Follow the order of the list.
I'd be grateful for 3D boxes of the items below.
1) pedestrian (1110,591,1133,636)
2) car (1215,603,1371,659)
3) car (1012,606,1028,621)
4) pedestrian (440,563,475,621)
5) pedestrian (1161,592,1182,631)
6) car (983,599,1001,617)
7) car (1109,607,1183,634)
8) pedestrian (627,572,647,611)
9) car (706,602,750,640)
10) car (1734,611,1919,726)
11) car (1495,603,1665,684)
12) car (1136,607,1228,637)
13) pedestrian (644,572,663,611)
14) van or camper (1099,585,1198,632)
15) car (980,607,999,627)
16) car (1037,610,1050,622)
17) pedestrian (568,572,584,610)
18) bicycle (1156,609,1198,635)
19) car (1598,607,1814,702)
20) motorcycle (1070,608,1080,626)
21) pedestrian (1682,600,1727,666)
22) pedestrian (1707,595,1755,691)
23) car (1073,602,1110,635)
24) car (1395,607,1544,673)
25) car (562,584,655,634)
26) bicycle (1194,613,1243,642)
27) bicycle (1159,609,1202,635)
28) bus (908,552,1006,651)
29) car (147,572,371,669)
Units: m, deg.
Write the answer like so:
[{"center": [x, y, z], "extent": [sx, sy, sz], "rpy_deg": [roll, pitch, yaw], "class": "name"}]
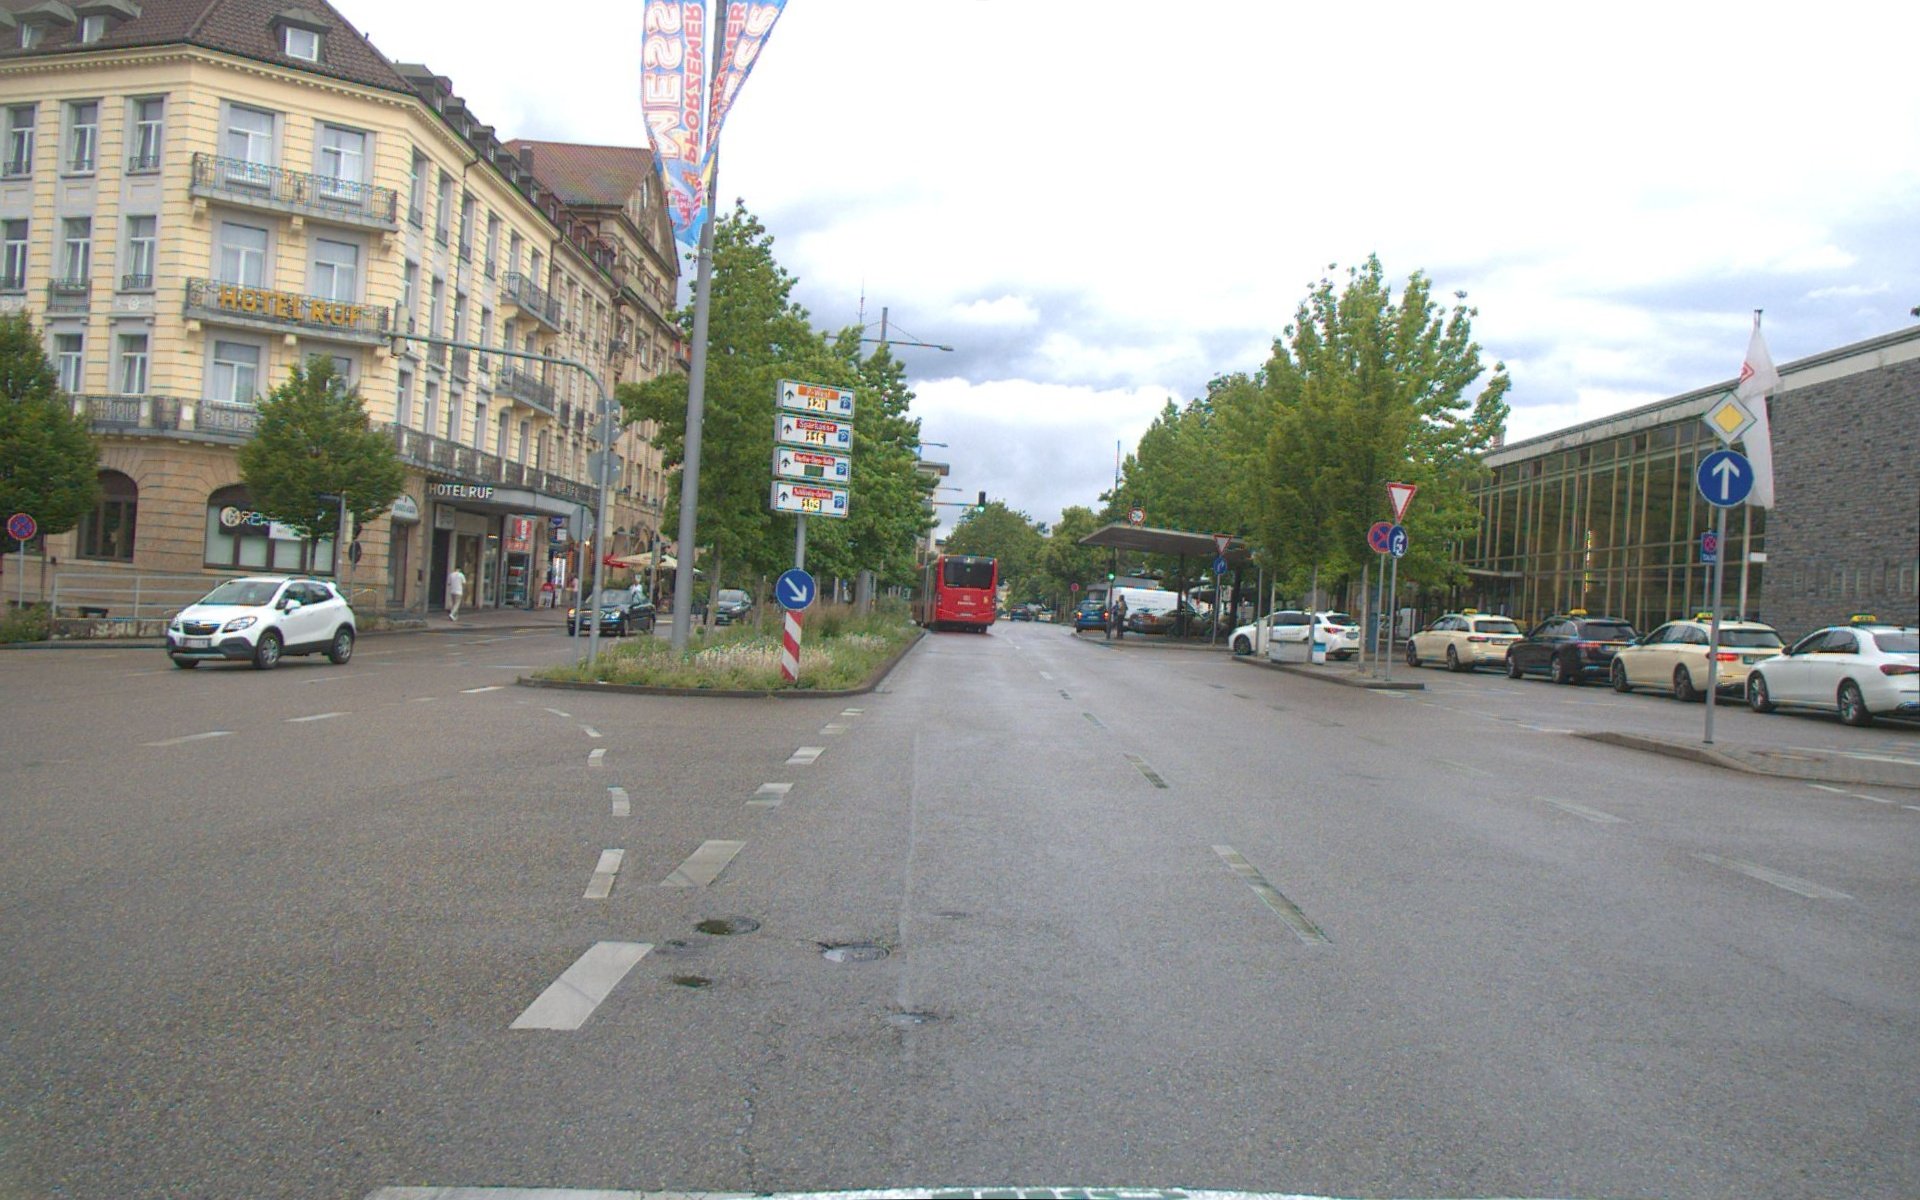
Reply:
[{"center": [6.515, 0.543, 66.709], "extent": [0.732, 1.777, 0.834], "rpy_deg": [2, -1, -8], "class": "pedestrian"}, {"center": [10.225, 0.931, 51.037], "extent": [1.746, 1.573, 4.710], "rpy_deg": [2, -1, -39], "class": "car"}, {"center": [6.346, 1.426, 175.032], "extent": [1.562, 1.588, 3.650], "rpy_deg": [1, 0, 1], "class": "car"}, {"center": [-16.415, -0.253, 54.018], "extent": [0.861, 1.844, 0.750], "rpy_deg": [1, -1, 0], "class": "pedestrian"}, {"center": [10.344, 0.575, 80.993], "extent": [0.839, 1.867, 1.190], "rpy_deg": [2, -1, 0], "class": "pedestrian"}, {"center": [3.642, 0.913, 188.375], "extent": [1.952, 2.049, 4.000], "rpy_deg": [1, 0, 1], "class": "car"}, {"center": [10.849, 1.196, 96.475], "extent": [3.938, 1.468, 1.849], "rpy_deg": [3, -1, -26], "class": "car"}, {"center": [-14.163, -0.368, 72.557], "extent": [0.667, 1.693, 0.807], "rpy_deg": [1, -1, 3], "class": "pedestrian"}, {"center": [-9.759, 0.855, 69.712], "extent": [1.644, 1.539, 3.859], "rpy_deg": [1, 0, -5], "class": "car"}, {"center": [14.107, 0.994, 25.774], "extent": [1.841, 1.627, 4.903], "rpy_deg": [1, 0, 1], "class": "car"}, {"center": [14.081, 0.937, 37.892], "extent": [1.953, 1.627, 4.957], "rpy_deg": [3, 0, -1], "class": "car"}, {"center": [11.014, 1.098, 82.062], "extent": [4.122, 1.348, 1.830], "rpy_deg": [2, -1, -20], "class": "car"}, {"center": [-13.432, -0.368, 72.487], "extent": [0.667, 1.693, 0.807], "rpy_deg": [1, -1, 1], "class": "pedestrian"}, {"center": [11.687, 0.517, 102.530], "extent": [5.875, 2.811, 2.180], "rpy_deg": [1, -1, -27], "class": "van or camper"}, {"center": [3.111, 1.780, 172.749], "extent": [1.952, 2.049, 4.000], "rpy_deg": [1, 0, 1], "class": "car"}, {"center": [11.600, 2.230, 229.898], "extent": [1.611, 1.690, 3.650], "rpy_deg": [1, 0, 1], "class": "car"}, {"center": [-17.301, -0.414, 74.513], "extent": [0.654, 1.693, 0.535], "rpy_deg": [1, -1, -8], "class": "pedestrian"}, {"center": [9.394, 0.948, 71.733], "extent": [1.799, 1.074, 0.418], "rpy_deg": [1, -1, -18], "class": "bicycle"}, {"center": [14.128, 0.971, 31.685], "extent": [1.952, 1.627, 4.959], "rpy_deg": [1, 0, 1], "class": "car"}, {"center": [8.303, 1.221, 119.430], "extent": [0.582, 1.310, 1.955], "rpy_deg": [1, 0, 6], "class": "motorcycle"}, {"center": [18.279, 0.806, 40.629], "extent": [0.753, 1.607, 0.710], "rpy_deg": [1, -1, -3], "class": "pedestrian"}, {"center": [17.999, 0.990, 38.631], "extent": [0.778, 2.202, 0.723], "rpy_deg": [1, -1, 0], "class": "pedestrian"}, {"center": [6.768, 0.951, 85.206], "extent": [1.819, 1.596, 4.002], "rpy_deg": [2, -1, 4], "class": "car"}, {"center": [13.579, 1.026, 44.414], "extent": [1.956, 1.627, 4.950], "rpy_deg": [1, 0, -7], "class": "car"}, {"center": [-10.835, 0.278, 51.267], "extent": [1.915, 1.447, 4.000], "rpy_deg": [1, 0, 1], "class": "car"}, {"center": [9.807, 1.031, 62.685], "extent": [1.790, 1.074, 0.420], "rpy_deg": [1, -1, 0], "class": "bicycle"}, {"center": [9.499, 0.951, 71.284], "extent": [1.799, 1.074, 0.418], "rpy_deg": [1, -1, -18], "class": "bicycle"}, {"center": [-0.283, 0.100, 73.850], "extent": [3.475, 4.049, 11.160], "rpy_deg": [1, 0, -5], "class": "bus"}, {"center": [-12.850, 0.373, 30.631], "extent": [1.914, 1.646, 4.211], "rpy_deg": [1, 0, 8], "class": "car"}]
